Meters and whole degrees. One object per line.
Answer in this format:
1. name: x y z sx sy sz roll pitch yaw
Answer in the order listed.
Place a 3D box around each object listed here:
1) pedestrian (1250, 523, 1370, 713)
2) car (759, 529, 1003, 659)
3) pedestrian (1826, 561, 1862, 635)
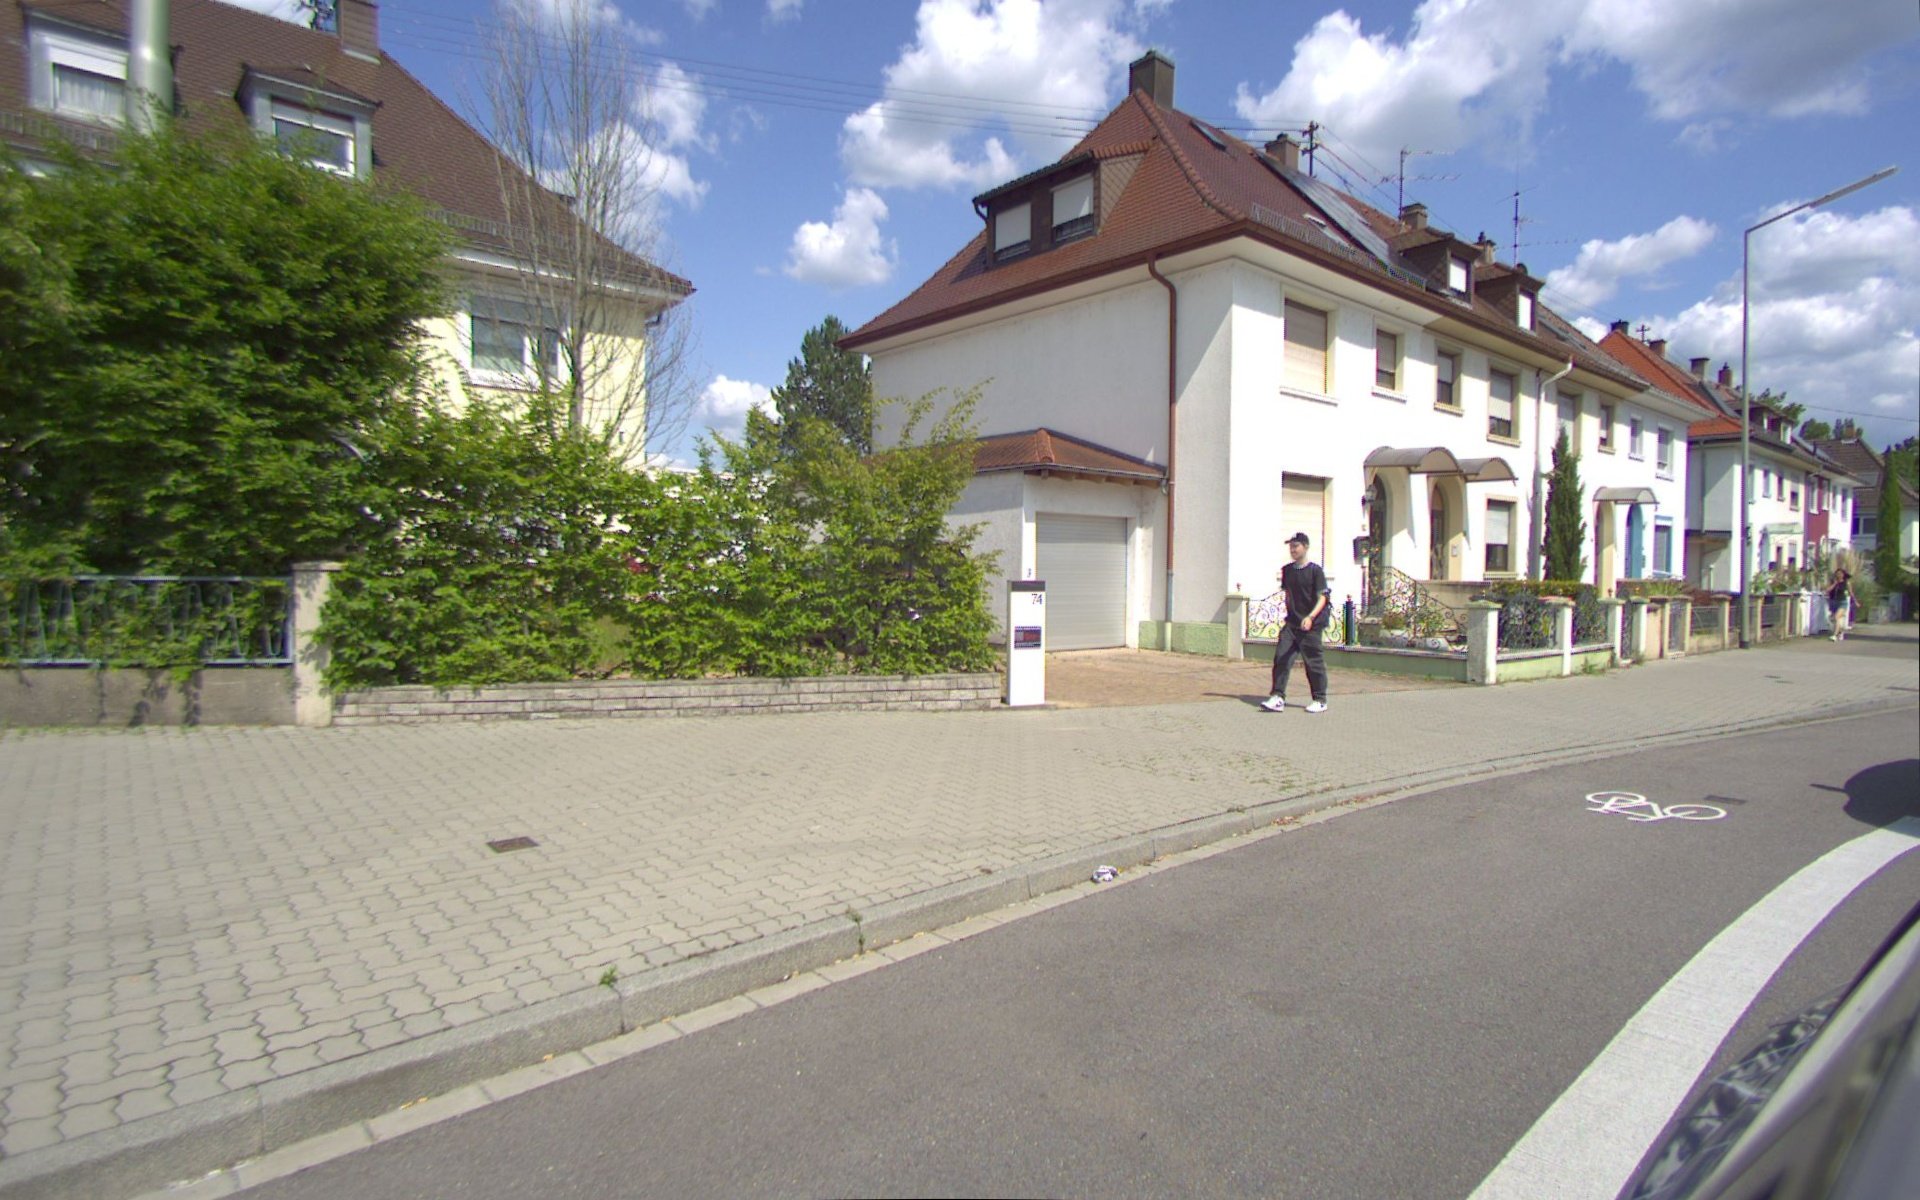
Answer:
1. pedestrian: 3.430 0.161 9.972 0.920 1.789 0.593 1 2 1
2. car: -1.344 -0.153 15.620 1.834 1.729 3.998 0 2 -38
3. pedestrian: 21.015 -0.057 24.048 0.607 1.732 0.519 0 2 -40
